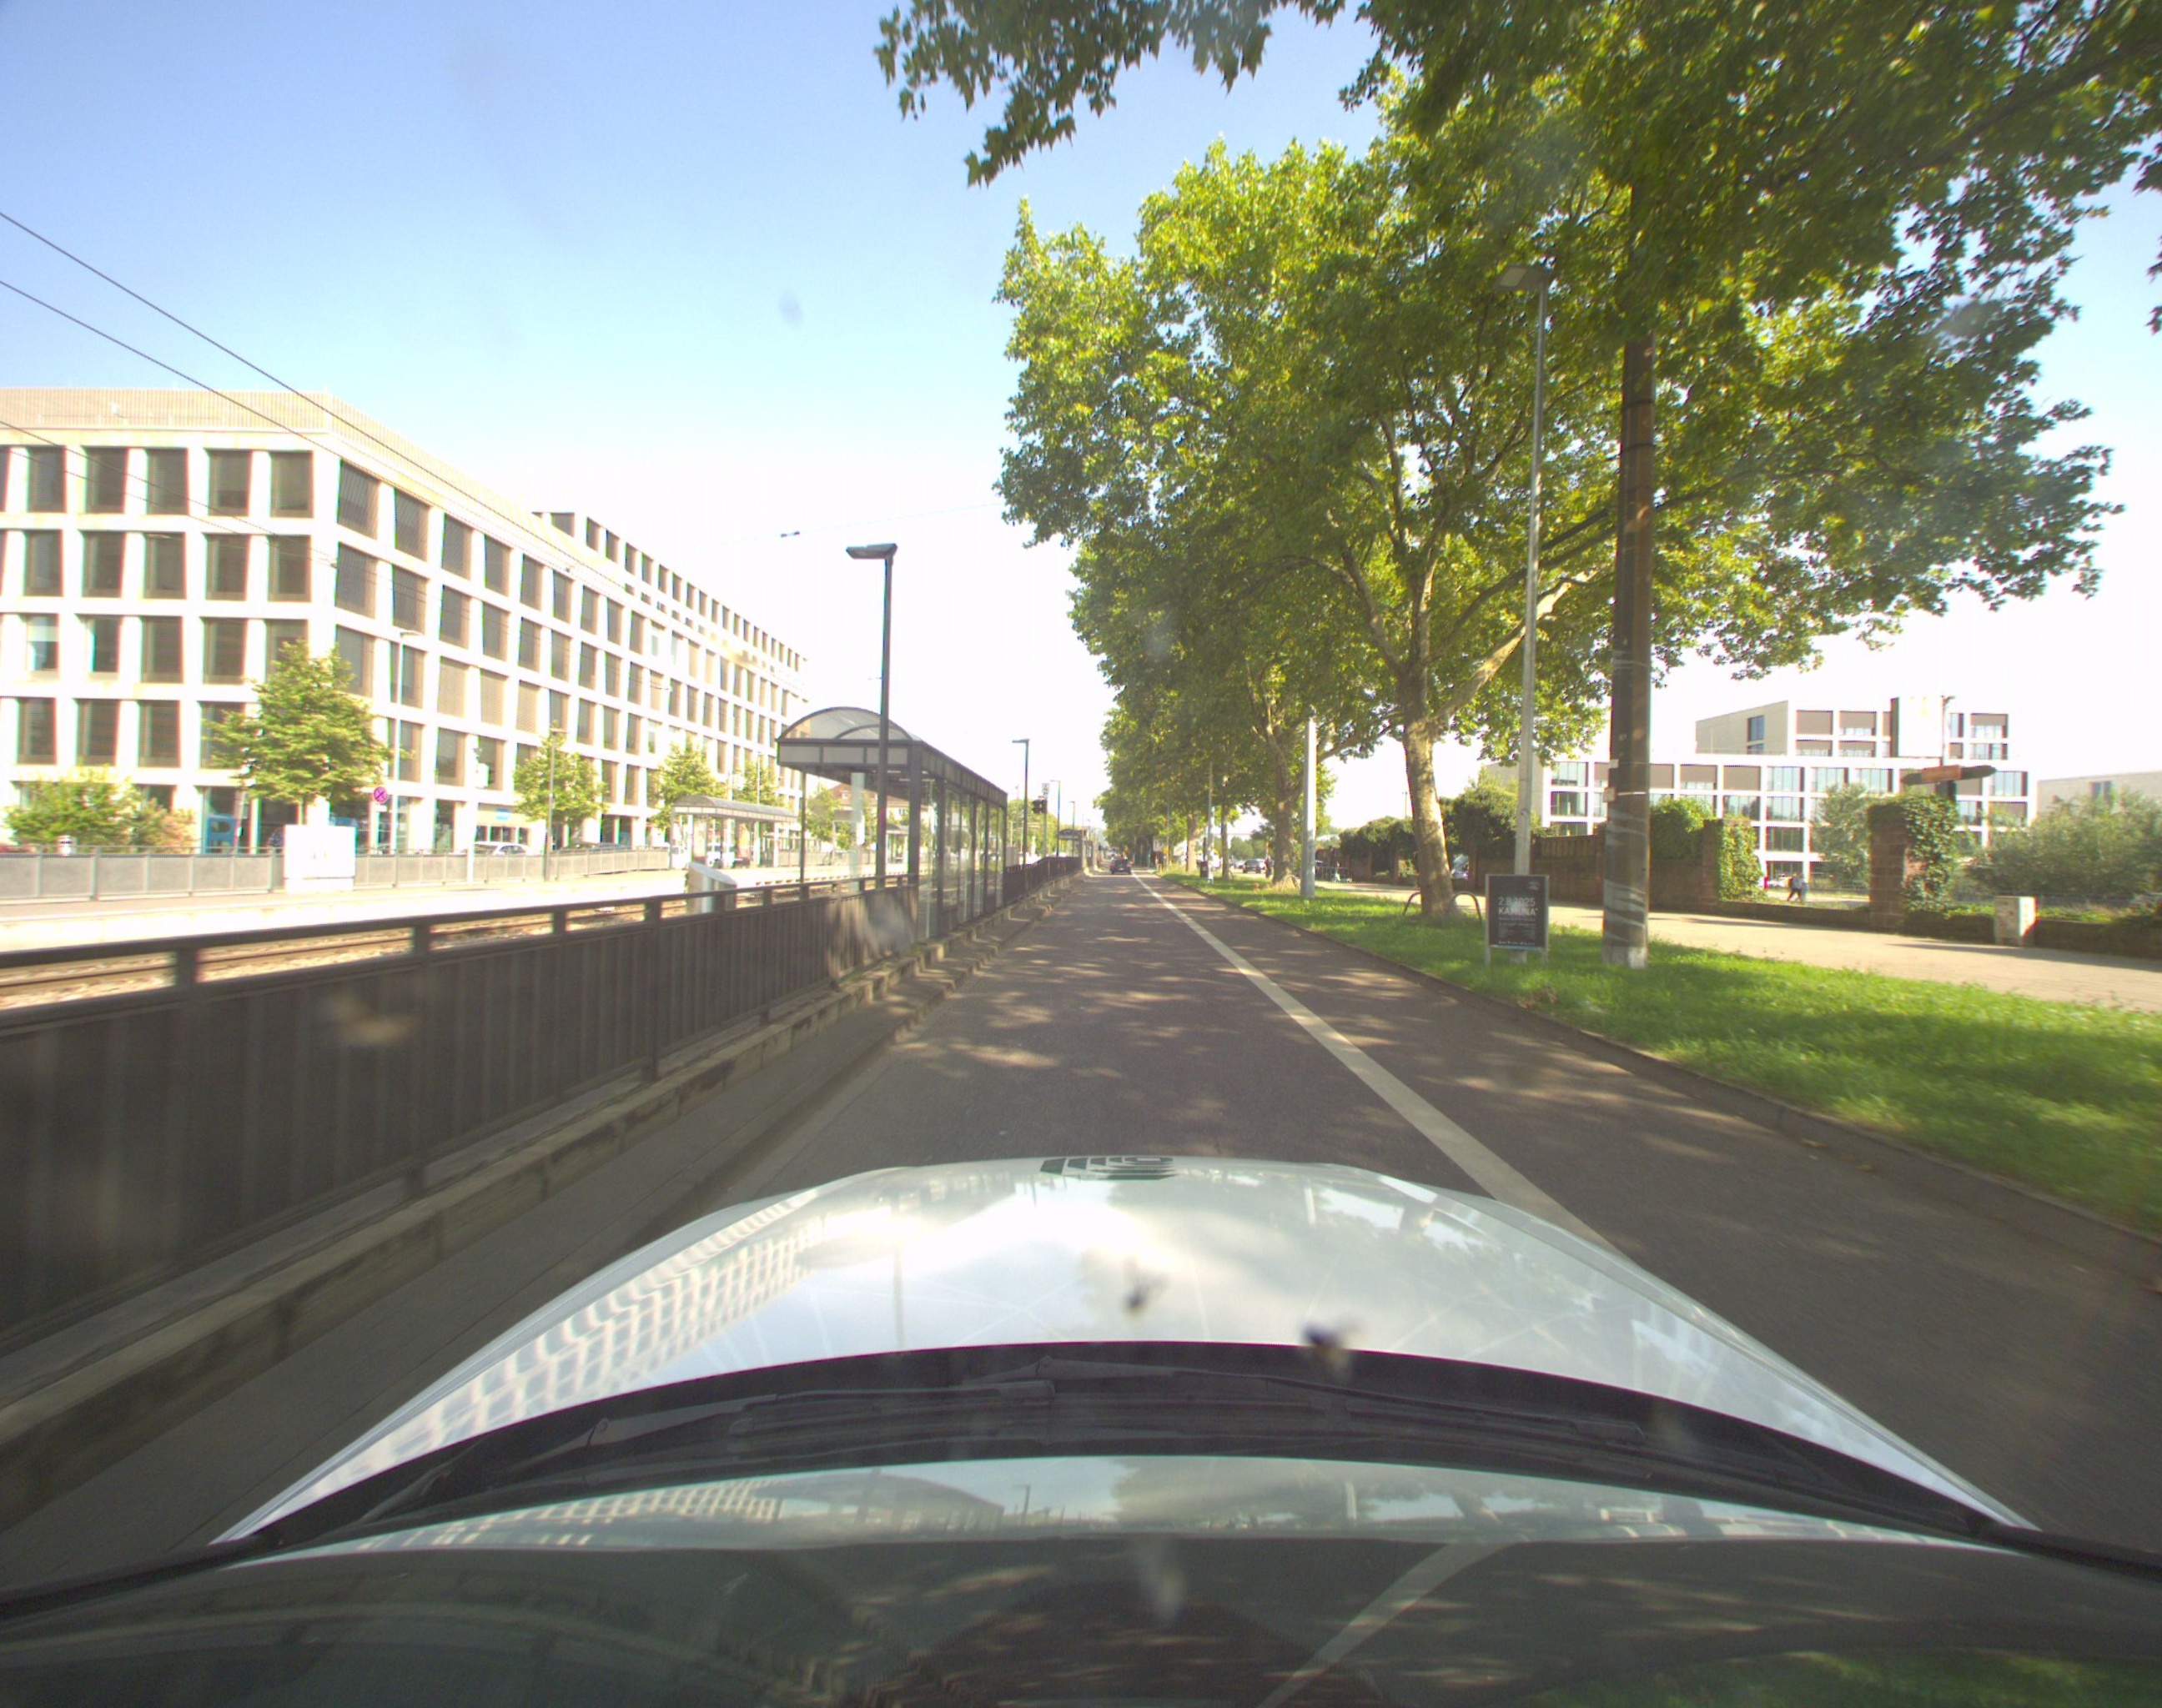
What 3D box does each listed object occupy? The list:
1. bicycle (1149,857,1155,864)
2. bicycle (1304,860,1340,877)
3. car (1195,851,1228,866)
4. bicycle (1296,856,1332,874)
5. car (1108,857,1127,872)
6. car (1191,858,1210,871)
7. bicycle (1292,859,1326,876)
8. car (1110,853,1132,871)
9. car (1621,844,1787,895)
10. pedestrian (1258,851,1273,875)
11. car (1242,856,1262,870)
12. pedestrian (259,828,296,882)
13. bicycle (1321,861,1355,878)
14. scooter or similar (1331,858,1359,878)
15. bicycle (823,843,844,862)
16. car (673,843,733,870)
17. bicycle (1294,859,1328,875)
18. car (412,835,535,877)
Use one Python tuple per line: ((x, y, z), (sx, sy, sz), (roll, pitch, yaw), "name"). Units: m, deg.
((10.584, 0.948, 122.052), (0.608, 1.022, 2.401), (1, 0, -2), "bicycle")
((15.915, 0.946, 53.865), (2.166, 1.076, 0.743), (1, 0, 0), "bicycle")
((17.062, 0.612, 106.368), (4.084, 1.918, 1.850), (0, 0, 5), "car")
((16.683, 0.808, 58.374), (2.236, 1.277, 0.999), (-1, -1, 1), "bicycle")
((4.135, 1.198, 92.739), (1.966, 1.537, 4.001), (-2, 0, 1), "car")
((13.627, 1.180, 93.111), (1.721, 1.448, 4.553), (0, 0, 2), "car")
((15.935, 0.933, 56.894), (2.163, 1.076, 0.744), (-1, -1, 5), "bicycle")
((3.562, 0.682, 73.421), (1.900, 1.537, 4.001), (-1, 0, 1), "car")
((22.221, 0.536, 29.161), (4.507, 1.734, 1.909), (0, 0, 0), "car")
((11.859, 0.547, 52.271), (0.781, 1.515, 0.787), (1, 0, 2), "pedestrian")
((19.753, 1.021, 94.140), (1.601, 1.575, 3.799), (0, 0, 2), "car")
((-31.123, 0.047, 31.548), (0.561, 2.014, 0.823), (-2, -1, 2), "pedestrian")
((15.959, 0.943, 50.551), (1.861, 1.006, 0.735), (1, 0, 0), "bicycle")
((16.059, 0.865, 49.552), (1.498, 1.191, 0.539), (-1, -1, 5), "scooter or similar")
((-15.098, -0.081, 49.748), (0.467, 1.147, 1.490), (1, 0, 17), "bicycle")
((-23.637, 0.155, 51.114), (1.757, 1.603, 4.132), (0, 0, 1), "car")
((15.809, 0.904, 56.081), (2.163, 1.076, 0.744), (-1, -1, 5), "bicycle")
((-24.057, 0.070, 32.458), (1.757, 1.574, 4.132), (0, 0, 1), "car")
